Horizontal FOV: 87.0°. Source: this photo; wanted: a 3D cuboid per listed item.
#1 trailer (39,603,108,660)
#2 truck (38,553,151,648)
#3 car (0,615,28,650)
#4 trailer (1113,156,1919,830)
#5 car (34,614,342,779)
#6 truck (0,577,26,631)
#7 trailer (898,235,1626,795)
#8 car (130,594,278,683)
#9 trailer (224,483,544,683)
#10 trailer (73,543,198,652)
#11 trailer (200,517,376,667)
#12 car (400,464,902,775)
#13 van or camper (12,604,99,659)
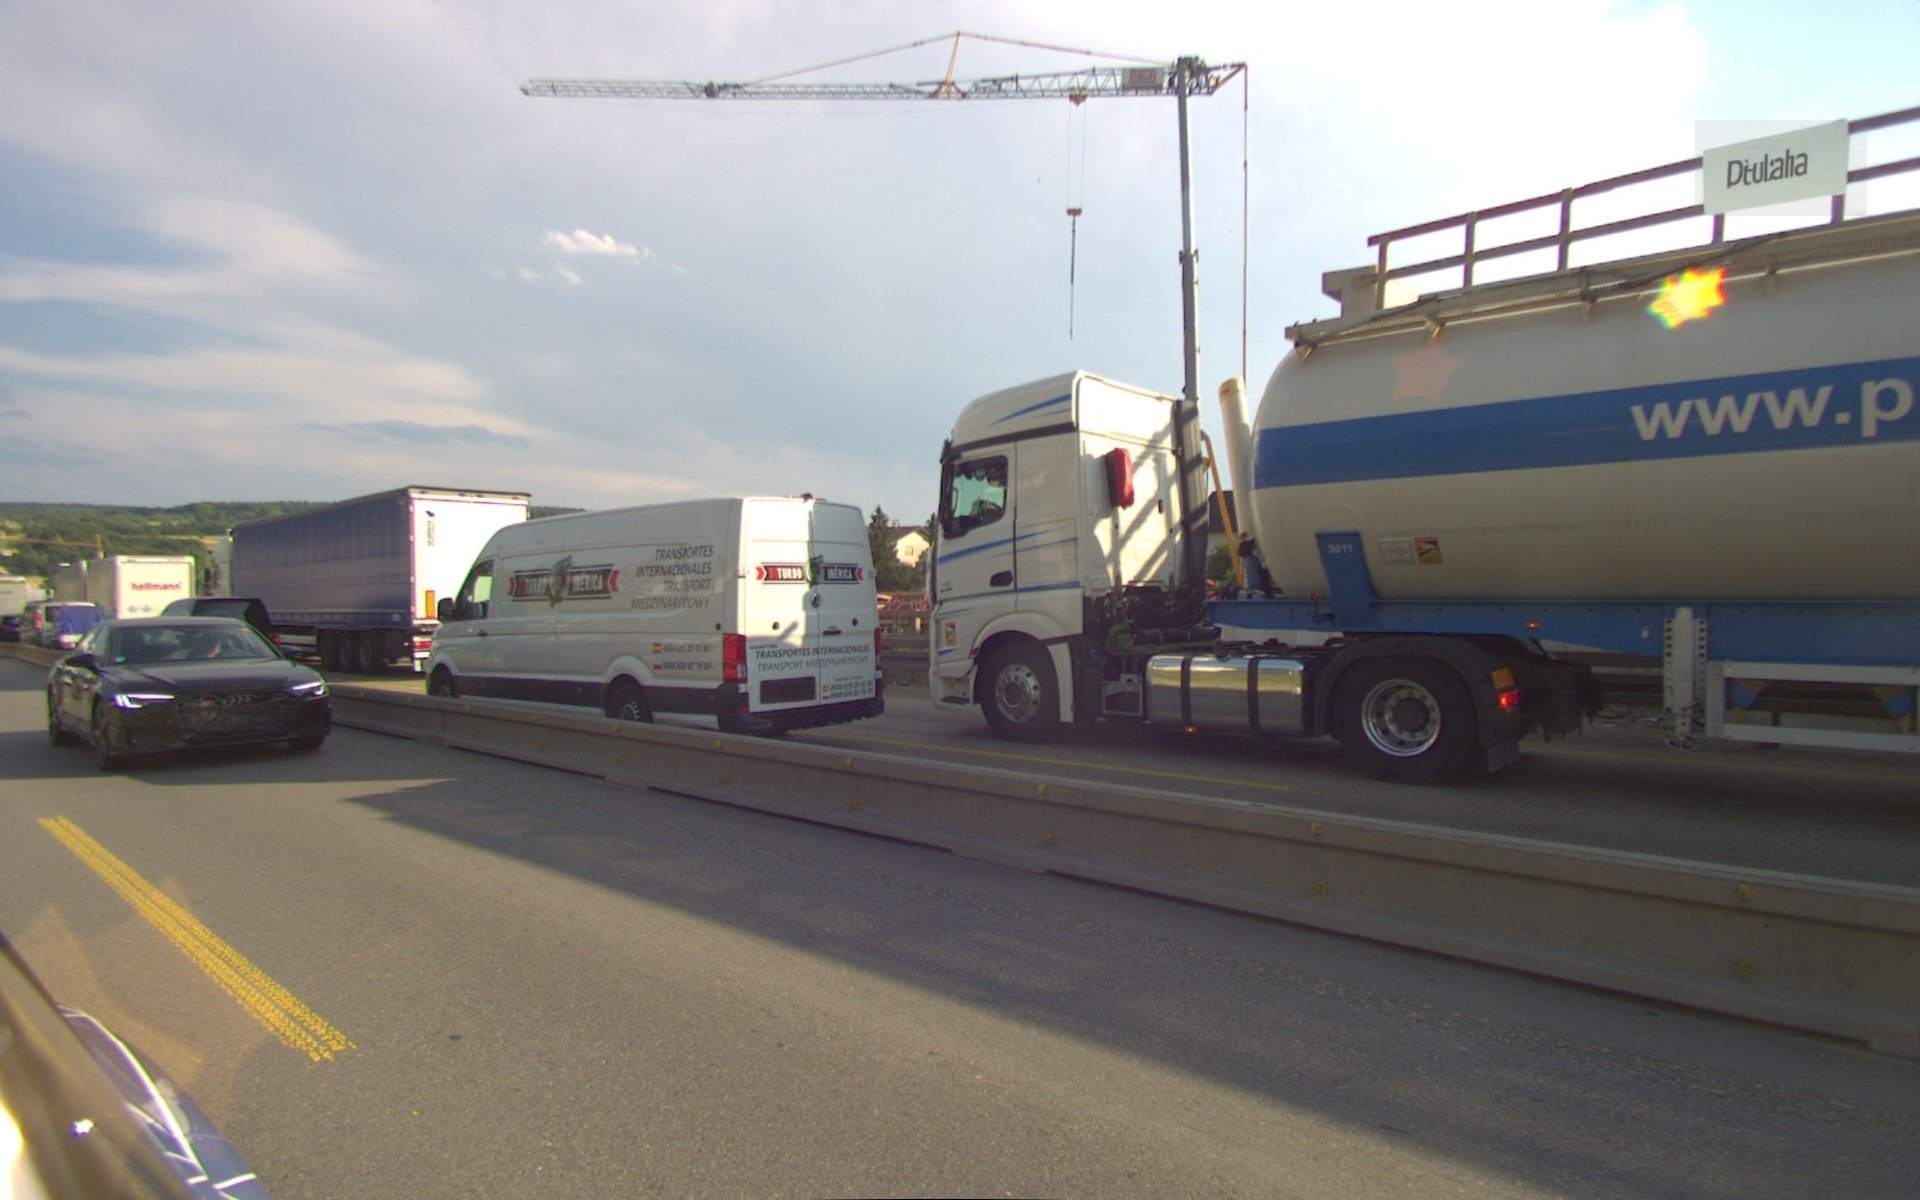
[{"bbox_3d":[-31.097,1.081,35.477,2.983,1.868,1.433,-1,0,41],"label":"trailer"},{"bbox_3d":[-43.070,0.049,50.213,10.068,4.295,2.798,-1,0,41],"label":"truck"},{"bbox_3d":[-45.039,1.509,47.266,3.998,1.586,1.837,-1,0,41],"label":"car"},{"bbox_3d":[7.374,-0.650,5.967,13.435,3.879,2.625,-1,0,41],"label":"trailer"},{"bbox_3d":[-8.538,0.890,11.042,4.347,1.430,1.849,-1,-1,41],"label":"car"},{"bbox_3d":[-74.915,0.361,78.485,7.595,4.092,2.836,-1,0,41],"label":"truck"},{"bbox_3d":[2.625,-0.568,10.112,6.425,3.879,2.625,-1,0,41],"label":"trailer"},{"bbox_3d":[-17.615,0.838,23.483,4.851,1.857,1.762,-1,0,41],"label":"car"},{"bbox_3d":[-15.480,-0.287,26.234,13.768,4.067,2.895,-1,0,42],"label":"trailer"},{"bbox_3d":[-35.991,-0.057,44.034,8.731,4.315,2.798,-1,0,41],"label":"trailer"},{"bbox_3d":[-20.461,-0.201,30.680,6.220,4.067,2.895,-1,0,41],"label":"trailer"},{"bbox_3d":[-4.022,0.196,11.803,7.406,2.642,1.973,-1,0,41],"label":"car"},{"bbox_3d":[-34.110,1.133,38.114,5.001,1.906,1.844,-1,0,41],"label":"van or camper"}]
